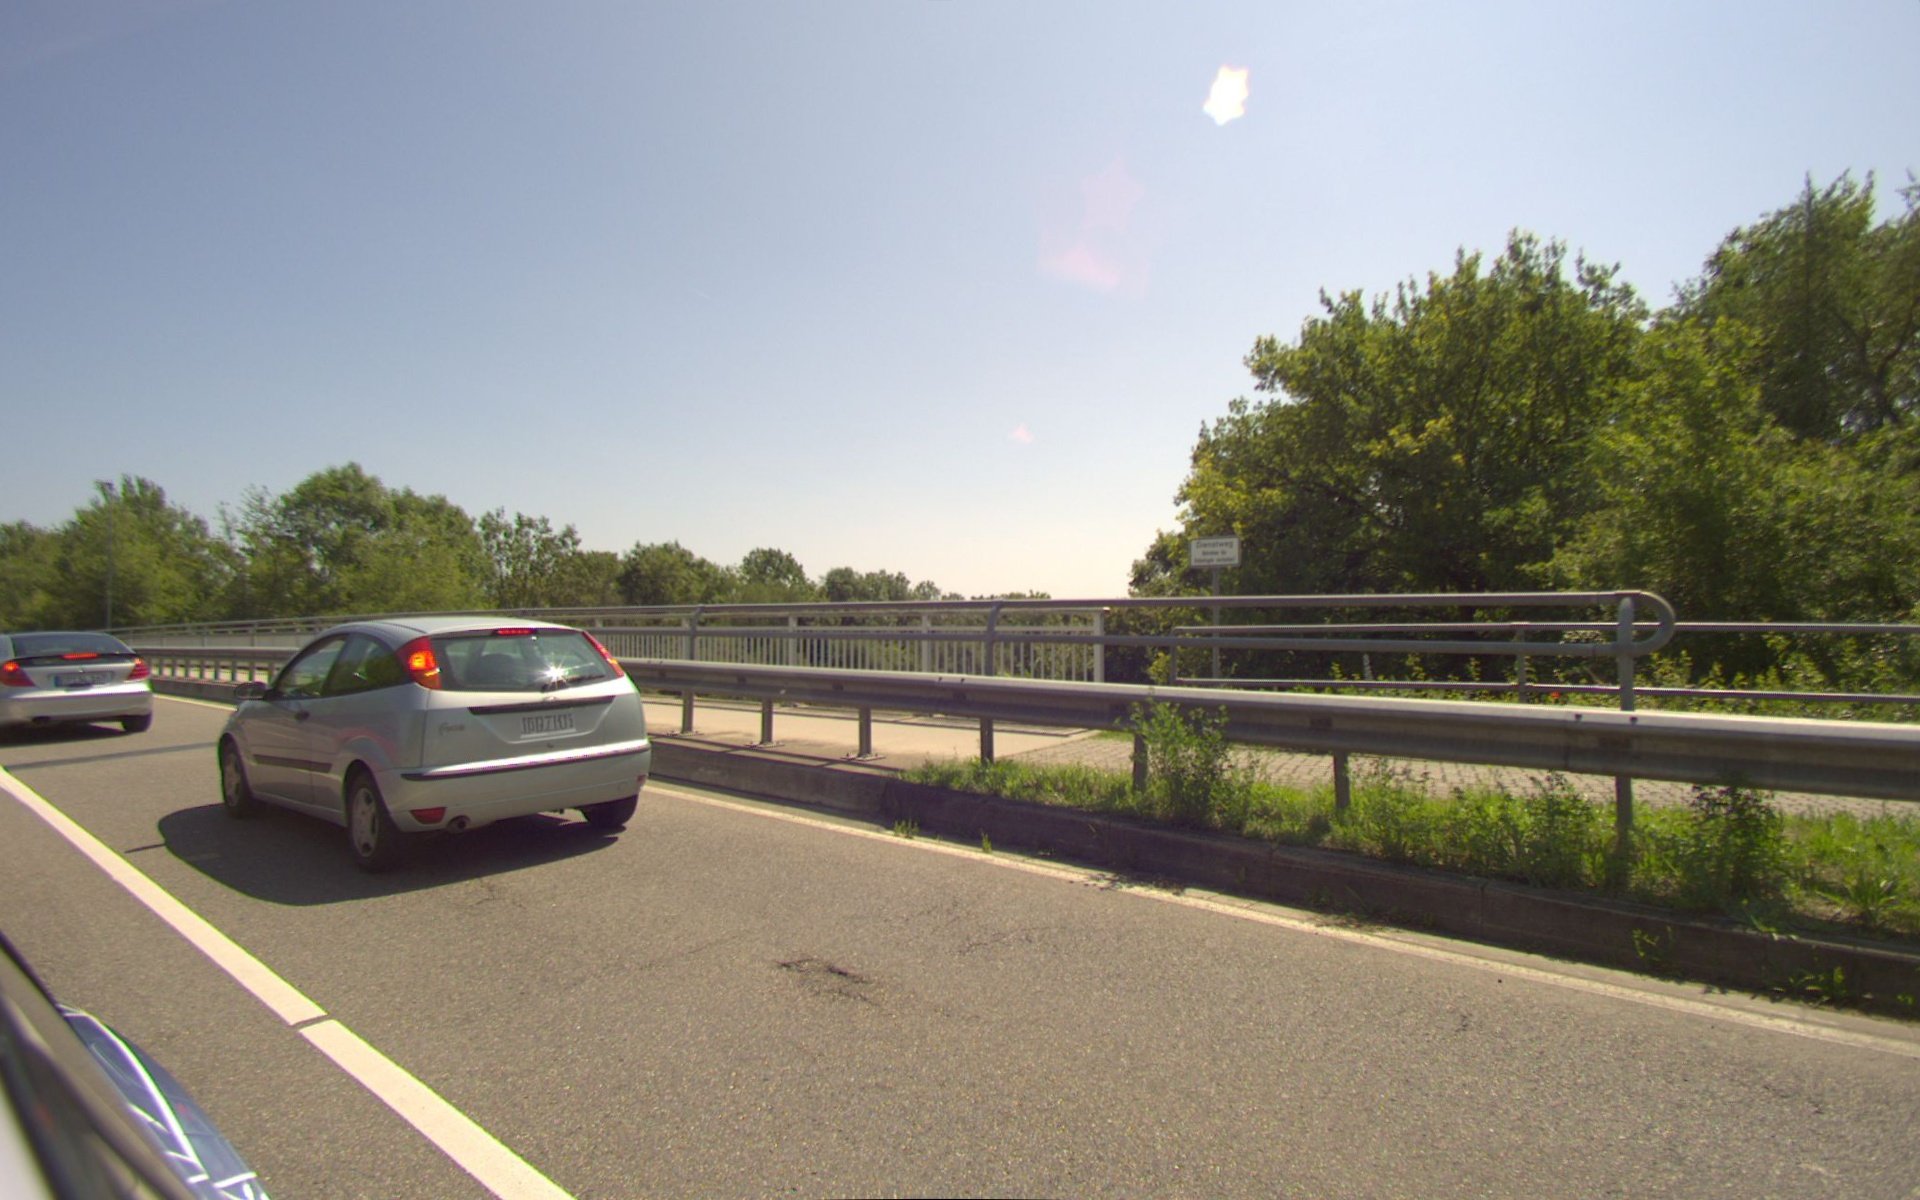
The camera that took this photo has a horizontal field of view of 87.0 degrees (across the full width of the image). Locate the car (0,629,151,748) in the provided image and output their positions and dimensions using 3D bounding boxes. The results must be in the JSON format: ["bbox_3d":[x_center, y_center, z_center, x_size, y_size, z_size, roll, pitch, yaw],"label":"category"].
[{"bbox_3d":[-12.552,1.117,13.873,3.936,1.392,1.626,-2,-1,41],"label":"car"}]

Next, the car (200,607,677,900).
[{"bbox_3d":[-3.763,0.819,7.022,3.706,1.468,1.776,-2,-1,42],"label":"car"}]
